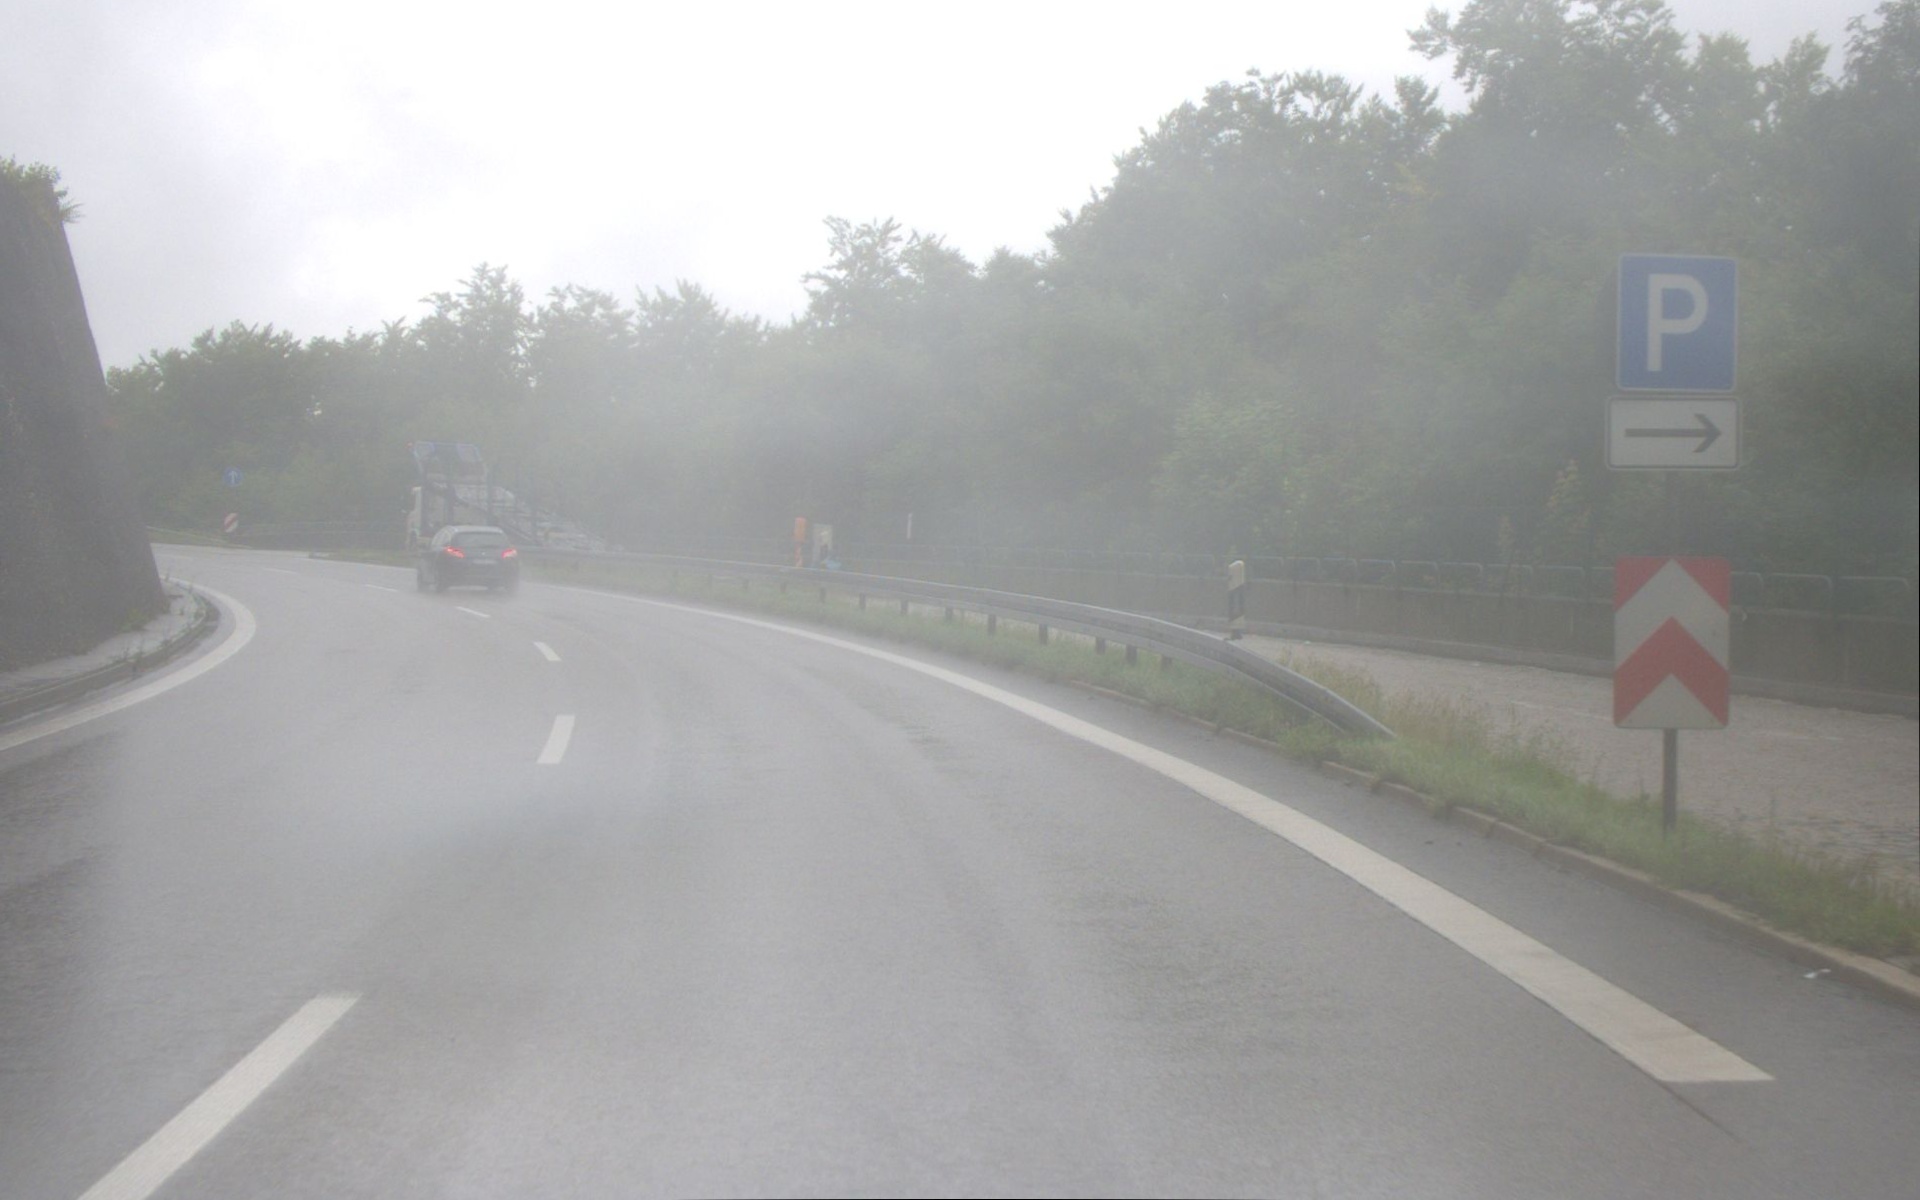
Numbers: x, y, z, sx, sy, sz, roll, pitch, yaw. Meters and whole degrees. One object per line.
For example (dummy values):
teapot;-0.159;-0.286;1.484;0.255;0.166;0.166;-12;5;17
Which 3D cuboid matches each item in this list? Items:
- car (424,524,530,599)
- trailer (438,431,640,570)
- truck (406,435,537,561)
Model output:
car;-10.677;-0.877;75.859;1.903;1.494;4.001;3;1;-13
trailer;-13.972;-3.251;112.485;2.891;4.230;14.702;1;1;-22
truck;-17.202;-3.558;120.626;2.895;4.230;6.883;1;1;-22
